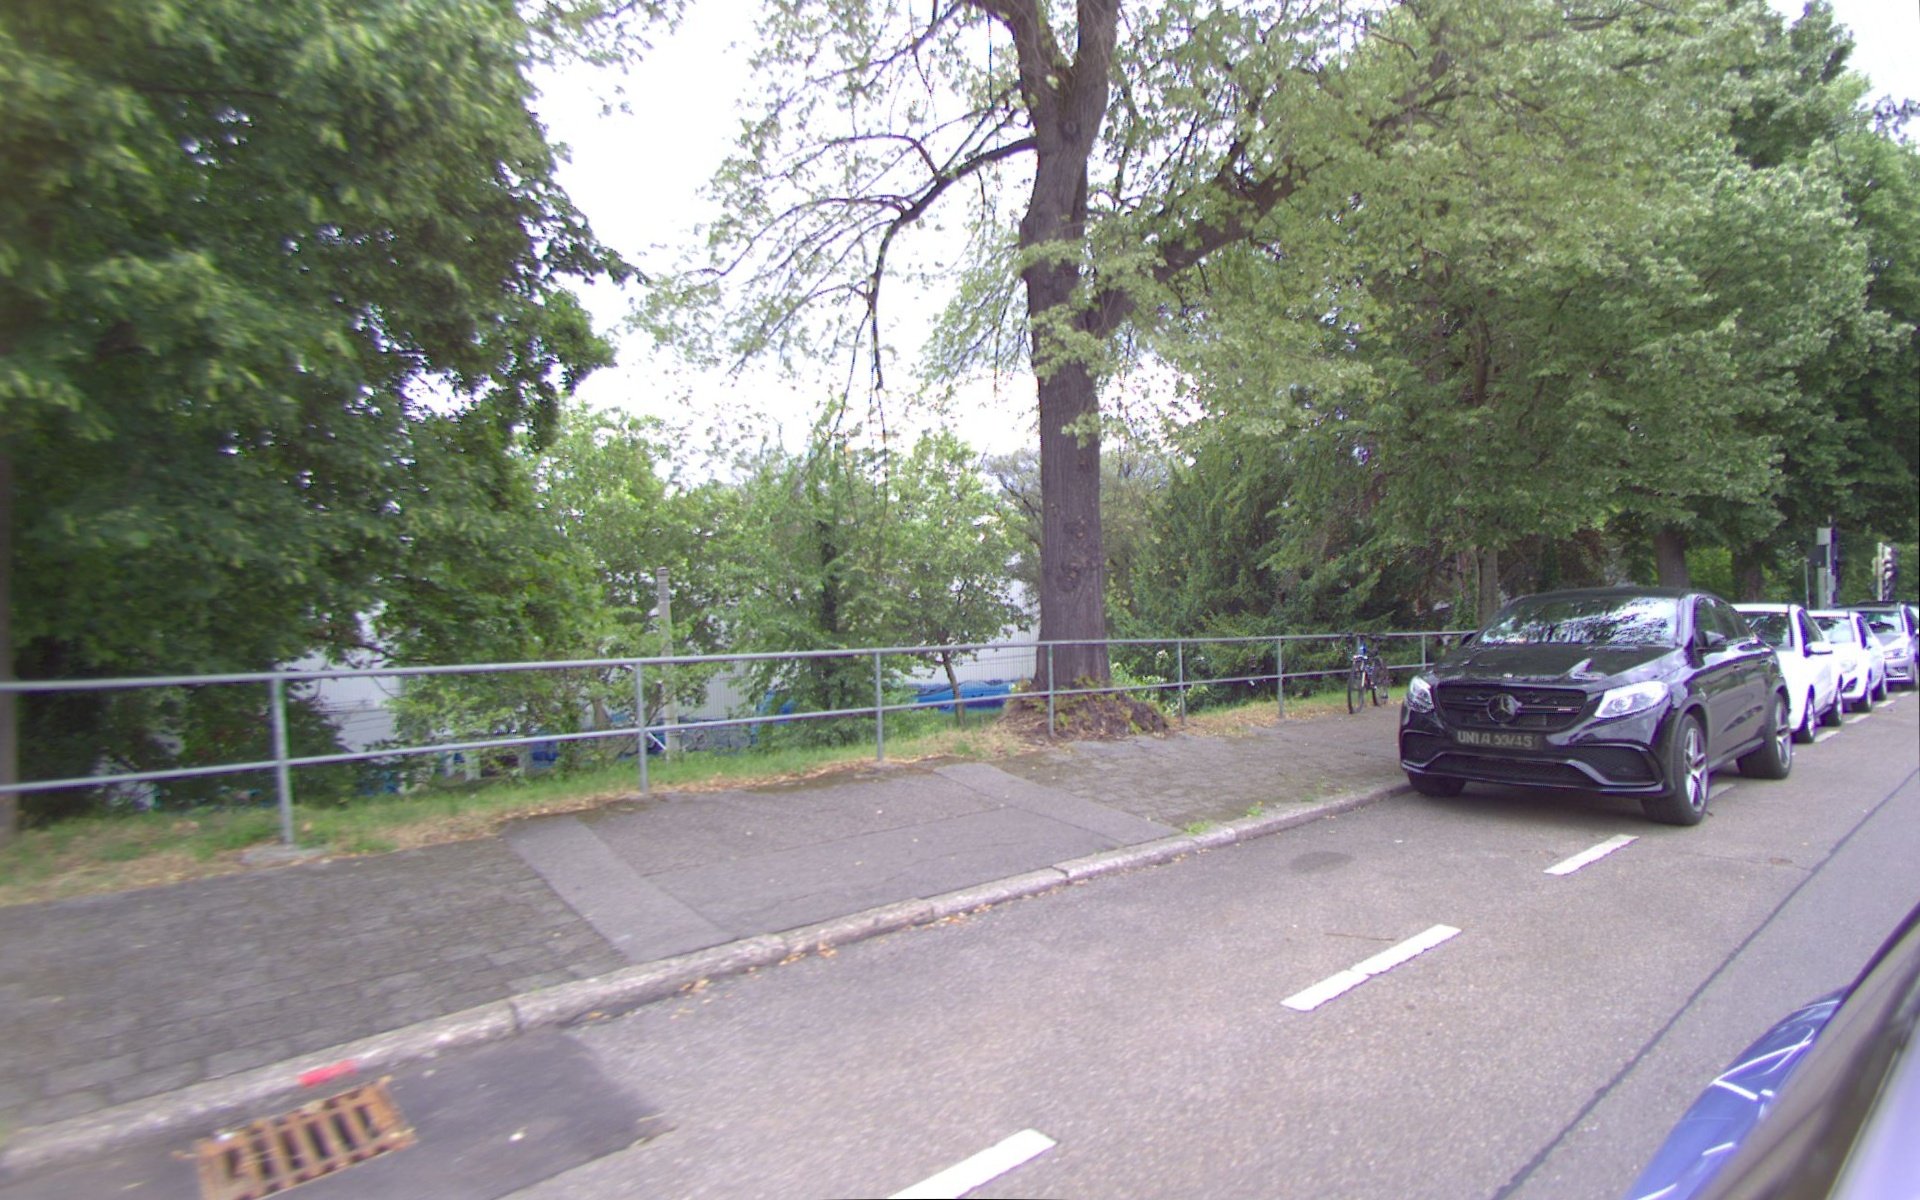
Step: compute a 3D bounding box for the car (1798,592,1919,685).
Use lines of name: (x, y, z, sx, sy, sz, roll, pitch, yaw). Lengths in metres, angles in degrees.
car: (17.774, 0.651, 19.607, 4.289, 1.595, 1.736, -1, 0, -42)

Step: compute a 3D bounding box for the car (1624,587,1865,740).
car: (10.108, 0.722, 12.928, 4.019, 1.653, 1.727, 0, -3, -43)

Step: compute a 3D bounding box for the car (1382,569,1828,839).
car: (5.770, 0.664, 8.739, 4.974, 1.699, 1.880, 0, -1, -41)

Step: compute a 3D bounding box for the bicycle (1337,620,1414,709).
bicycle: (5.332, 0.787, 12.940, 0.426, 0.988, 1.770, -1, 1, 38)

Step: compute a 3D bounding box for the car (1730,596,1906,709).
car: (13.615, 0.747, 15.975, 3.996, 1.536, 1.630, 0, -2, -43)

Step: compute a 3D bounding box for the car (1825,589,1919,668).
car: (21.413, 0.585, 23.038, 4.518, 1.635, 1.907, 0, 0, -40)
